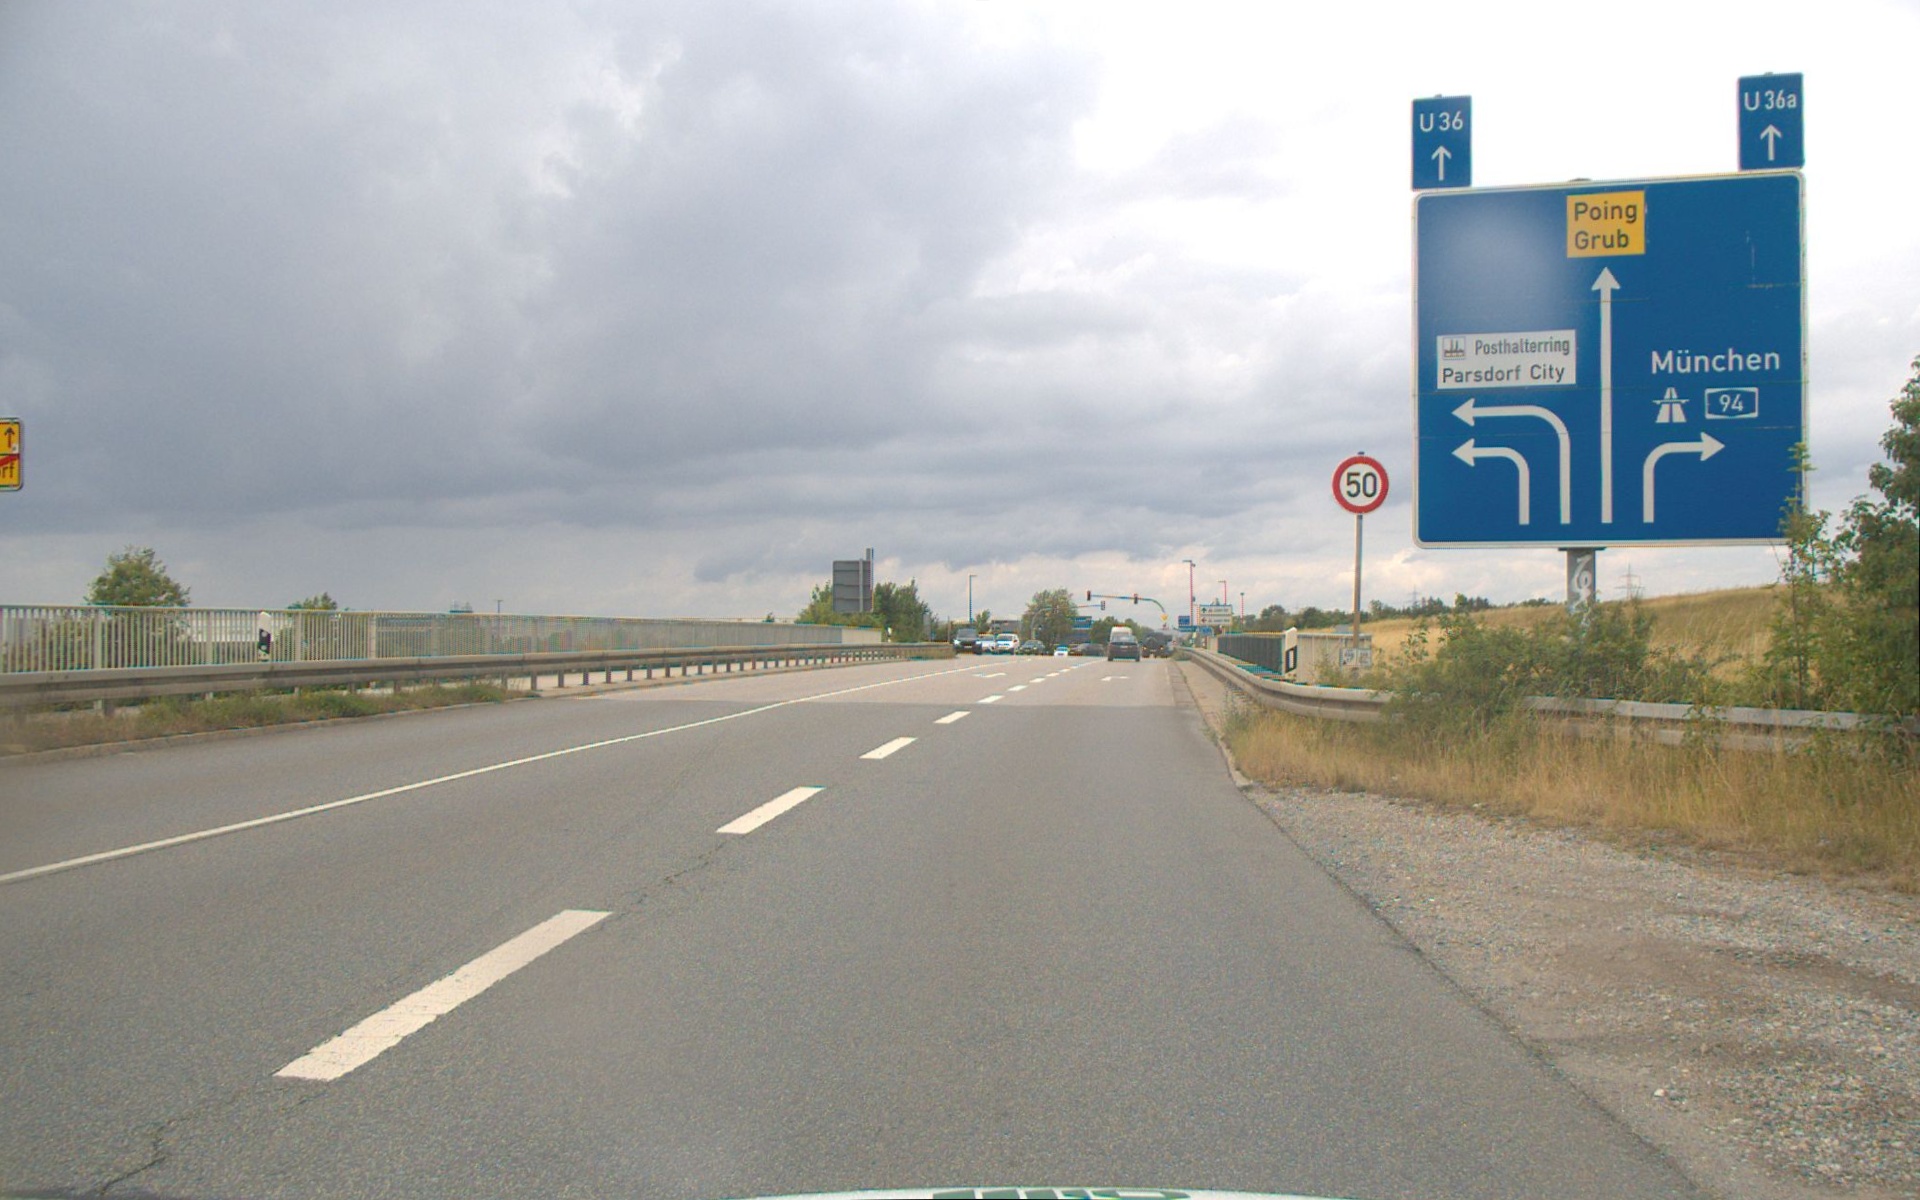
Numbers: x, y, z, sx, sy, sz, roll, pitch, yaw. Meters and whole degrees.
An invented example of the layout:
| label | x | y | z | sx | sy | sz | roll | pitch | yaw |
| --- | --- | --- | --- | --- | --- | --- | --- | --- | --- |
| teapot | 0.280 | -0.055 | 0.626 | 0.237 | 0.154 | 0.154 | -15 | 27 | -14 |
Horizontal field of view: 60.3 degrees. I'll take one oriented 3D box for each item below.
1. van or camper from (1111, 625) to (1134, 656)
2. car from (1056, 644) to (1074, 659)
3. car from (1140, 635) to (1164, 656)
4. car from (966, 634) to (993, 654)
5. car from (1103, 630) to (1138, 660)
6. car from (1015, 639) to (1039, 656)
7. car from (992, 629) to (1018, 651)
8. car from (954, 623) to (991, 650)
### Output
| label | x | y | z | sx | sy | sz | roll | pitch | yaw |
| --- | --- | --- | --- | --- | --- | --- | --- | --- | --- |
| van or camper | 14.472 | 3.597 | 147.411 | 1.836 | 2.626 | 4.002 | 2 | -2 | 7 |
| car | 11.152 | 5.488 | 175.520 | 1.770 | 1.392 | 4.789 | 1 | 0 | 5 |
| car | 15.103 | 3.600 | 129.975 | 1.646 | 1.571 | 3.618 | 0 | -2 | 11 |
| car | 1.497 | 3.372 | 127.528 | 1.675 | 1.513 | 4.282 | -1 | -1 | 6 |
| car | 8.243 | 2.307 | 84.648 | 1.485 | 1.512 | 3.618 | 0 | -2 | 11 |
| car | 6.659 | 4.662 | 163.467 | 1.549 | 1.585 | 4.149 | 1 | -2 | 14 |
| car | 4.043 | 3.563 | 146.909 | 1.912 | 1.907 | 4.823 | -1 | -1 | 6 |
| car | 0.853 | 2.504 | 113.109 | 1.951 | 1.762 | 4.765 | -1 | -1 | 7 |
